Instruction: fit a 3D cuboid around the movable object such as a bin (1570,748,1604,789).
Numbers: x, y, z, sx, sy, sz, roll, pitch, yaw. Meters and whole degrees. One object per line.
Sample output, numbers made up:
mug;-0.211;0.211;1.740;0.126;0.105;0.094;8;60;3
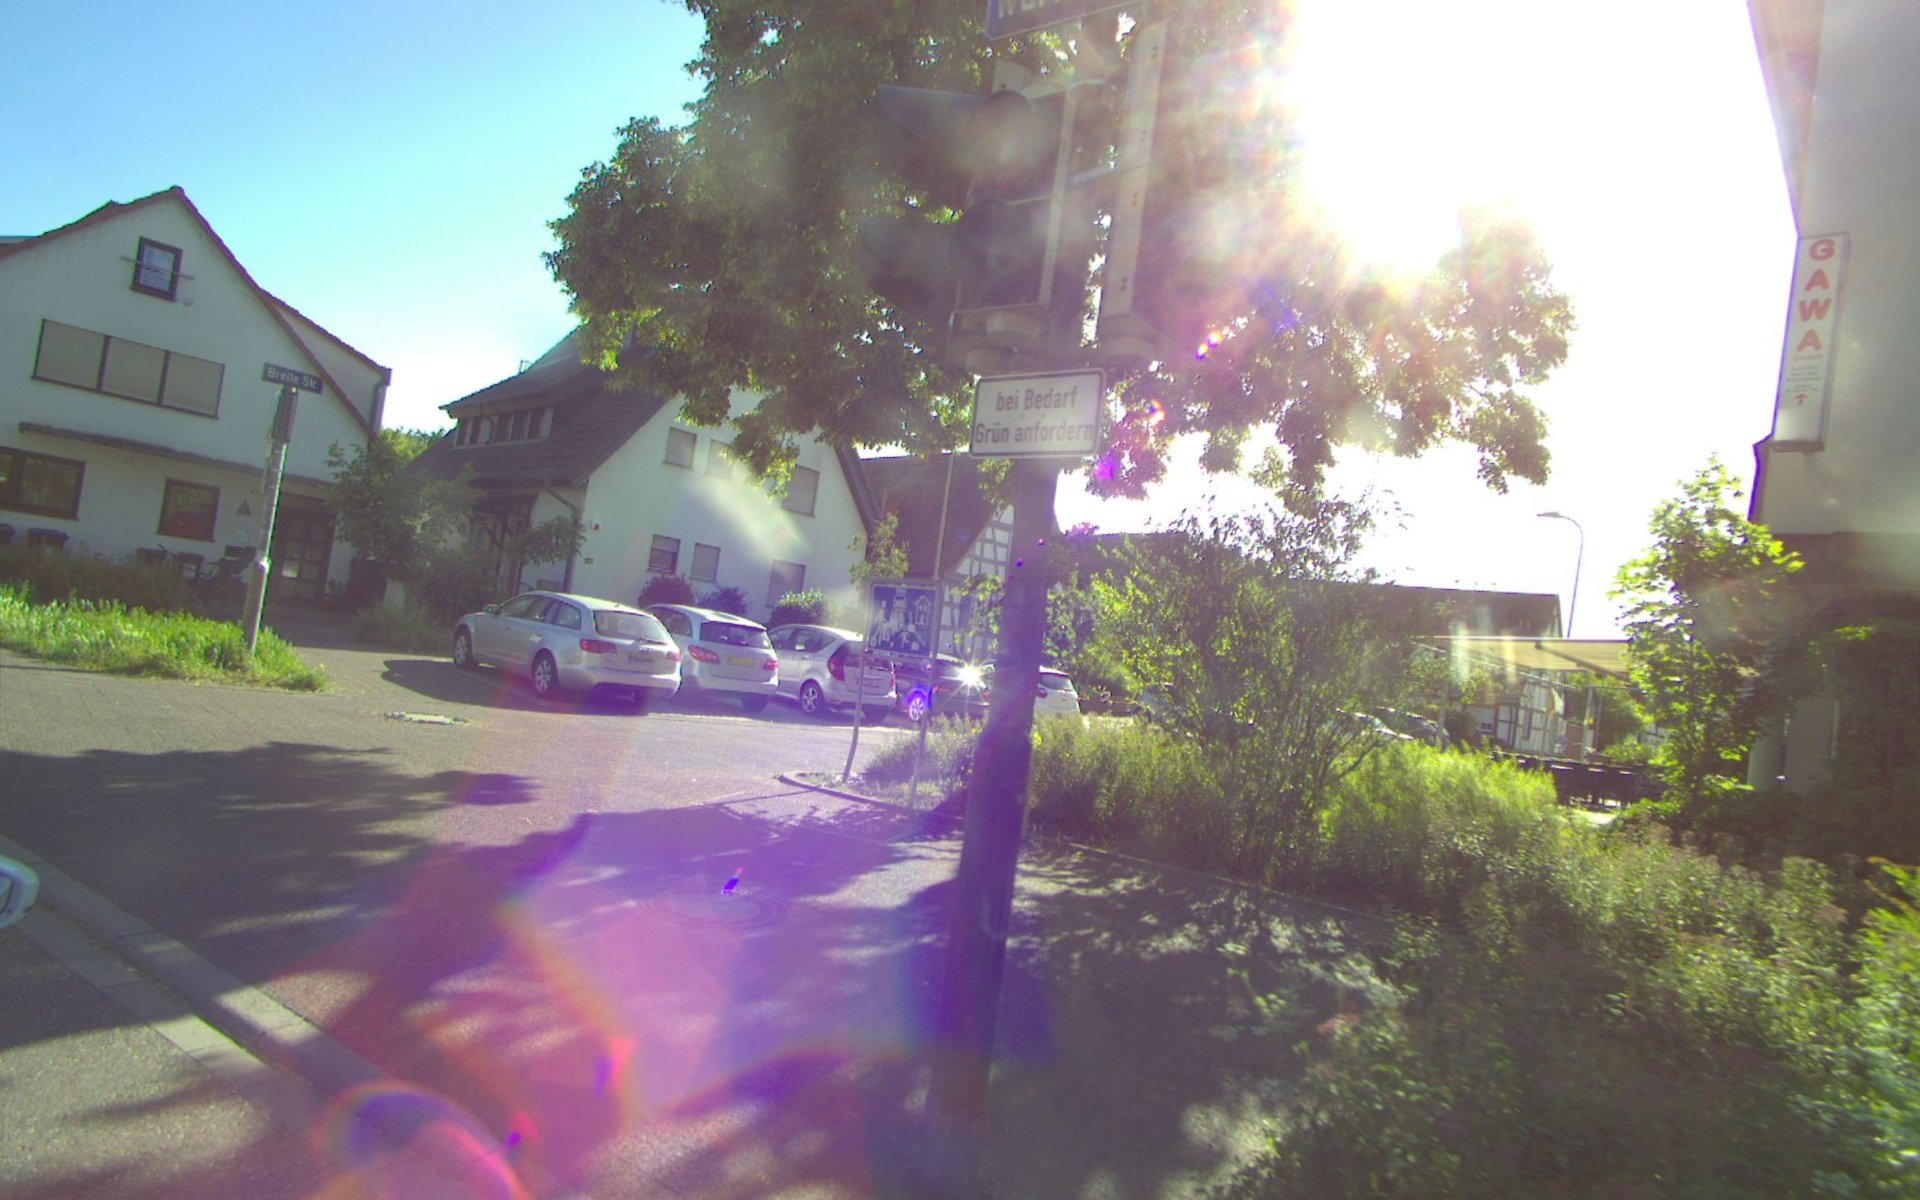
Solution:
movable object such as a bin;17.122;4.597;27.457;0.647;1.004;0.706;4;-3;39

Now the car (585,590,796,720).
car;-4.886;0.898;17.832;1.704;1.534;4.352;11;-2;-41

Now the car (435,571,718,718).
car;-6.068;0.636;15.616;4.734;1.438;1.993;9;-2;41

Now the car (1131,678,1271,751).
car;6.985;3.314;29.371;3.569;1.437;1.453;8;0;43

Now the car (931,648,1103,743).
car;1.249;2.166;23.285;1.593;1.491;3.761;10;-1;-43

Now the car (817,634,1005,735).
car;-1.137;1.767;21.581;1.642;1.364;4.061;12;-3;-43

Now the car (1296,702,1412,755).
car;14.206;4.626;36.381;3.567;1.208;1.341;9;-1;41

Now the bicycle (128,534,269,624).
bicycle;-13.367;-0.356;17.703;0.690;1.298;1.738;6;-3;39

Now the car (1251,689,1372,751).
car;12.299;4.194;35.307;3.569;1.469;1.454;8;-1;43

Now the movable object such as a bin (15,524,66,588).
movable object such as a bin;-17.776;-0.852;19.441;0.738;1.135;0.526;7;-1;41

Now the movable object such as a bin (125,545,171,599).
movable object such as a bin;-16.774;-0.582;20.787;0.660;0.994;0.529;7;-1;41

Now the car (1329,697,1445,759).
car;16.270;4.835;38.390;3.652;1.645;1.408;9;0;41

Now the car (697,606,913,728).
car;-3.123;1.249;19.647;4.345;1.569;1.706;9;-2;44

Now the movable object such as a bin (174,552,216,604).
movable object such as a bin;-16.262;-0.470;21.391;0.585;0.988;0.497;7;-1;41
